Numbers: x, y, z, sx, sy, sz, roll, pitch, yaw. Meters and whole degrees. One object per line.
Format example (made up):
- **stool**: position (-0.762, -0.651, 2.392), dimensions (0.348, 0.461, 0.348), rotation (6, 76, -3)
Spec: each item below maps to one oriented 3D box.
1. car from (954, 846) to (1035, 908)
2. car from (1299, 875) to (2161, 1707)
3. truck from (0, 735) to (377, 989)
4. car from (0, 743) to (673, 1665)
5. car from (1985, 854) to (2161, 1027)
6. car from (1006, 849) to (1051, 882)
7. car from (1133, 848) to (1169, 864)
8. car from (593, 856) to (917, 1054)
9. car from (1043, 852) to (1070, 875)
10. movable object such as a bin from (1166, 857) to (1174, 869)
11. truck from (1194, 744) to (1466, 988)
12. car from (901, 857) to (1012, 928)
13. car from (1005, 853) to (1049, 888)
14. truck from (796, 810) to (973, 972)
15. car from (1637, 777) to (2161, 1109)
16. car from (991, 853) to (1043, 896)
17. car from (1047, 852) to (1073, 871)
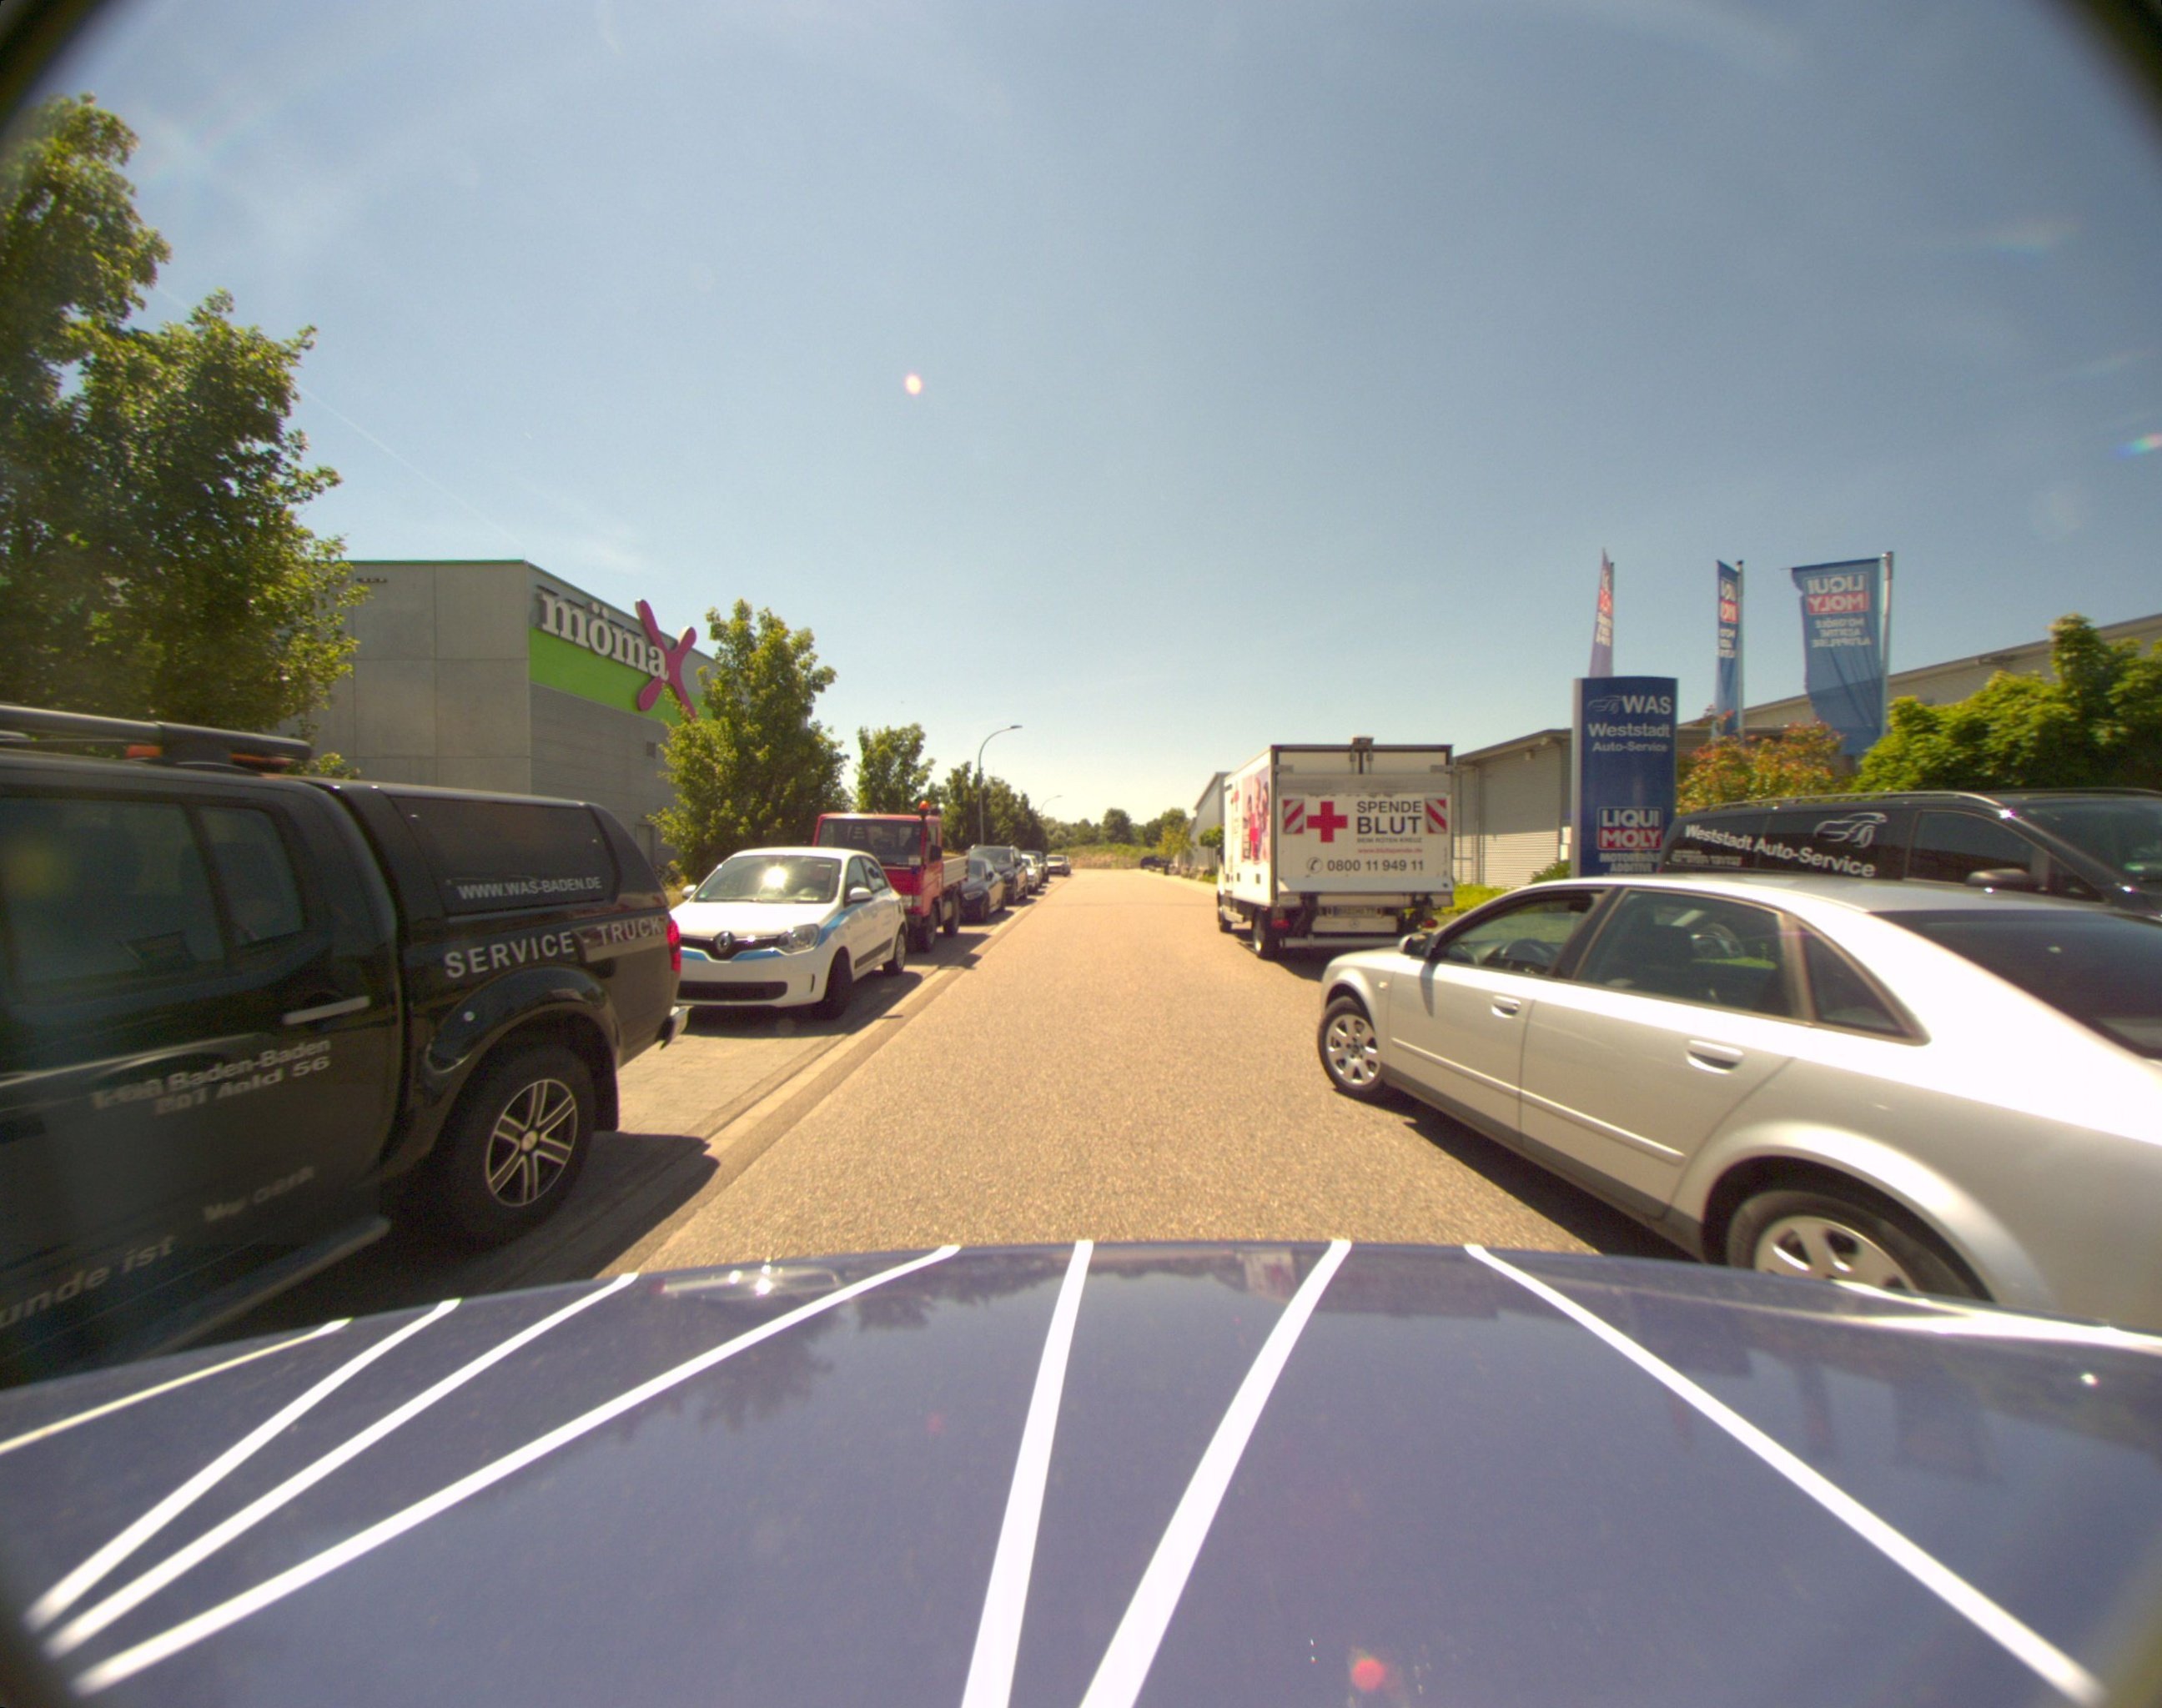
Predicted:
- **car**: position (-2.598, 0.659, 23.895), dimensions (1.815, 1.715, 4.774), rotation (1, 0, 2)
- **car**: position (2.605, 0.906, 3.111), dimensions (1.788, 1.414, 4.411), rotation (2, 1, -5)
- **truck**: position (-13.047, 0.085, 9.662), dimensions (5.918, 2.855, 2.306), rotation (0, 1, -2)
- **car**: position (-3.189, 0.700, 1.381), dimensions (1.998, 1.874, 5.155), rotation (1, 1, 2)
- **car**: position (9.974, 0.736, 5.207), dimensions (1.936, 1.408, 4.769), rotation (-1, 0, 1)
- **car**: position (-2.768, 0.594, 41.258), dimensions (1.953, 1.691, 4.545), rotation (1, 0, 2)
- **car**: position (8.783, 0.235, 95.494), dimensions (4.172, 1.649, 1.782), rotation (-5, 1, 1)
- **car**: position (-3.072, 0.827, 8.151), dimensions (1.743, 1.522, 3.999), rotation (2, 1, 0)
- **car**: position (-1.875, 0.694, 58.298), dimensions (1.809, 1.626, 4.458), rotation (1, 0, 1)
- **movable object such as a bin**: position (7.124, 0.729, 60.736), dimensions (0.572, 0.944, 0.512), rotation (-1, 0, -4)
- **truck**: position (3.427, 0.114, 12.247), dimensions (2.367, 2.843, 6.415), rotation (2, 1, 2)
- **car**: position (-2.801, 0.813, 18.147), dimensions (1.702, 1.375, 4.837), rotation (2, 0, 2)
- **car**: position (-2.428, 0.726, 35.123), dimensions (1.809, 1.474, 4.772), rotation (1, 0, -2)
- **truck**: position (-2.995, 0.493, 12.558), dimensions (1.683, 2.169, 4.390), rotation (2, 1, 1)
- **car**: position (7.367, 0.494, 6.153), dimensions (1.998, 1.945, 5.218), rotation (-1, 1, 1)
- **car**: position (-2.395, 0.731, 29.455), dimensions (1.718, 1.474, 4.772), rotation (1, 0, -2)
- **car**: position (-1.879, 0.686, 70.167), dimensions (2.149, 1.688, 4.785), rotation (1, 0, 1)
